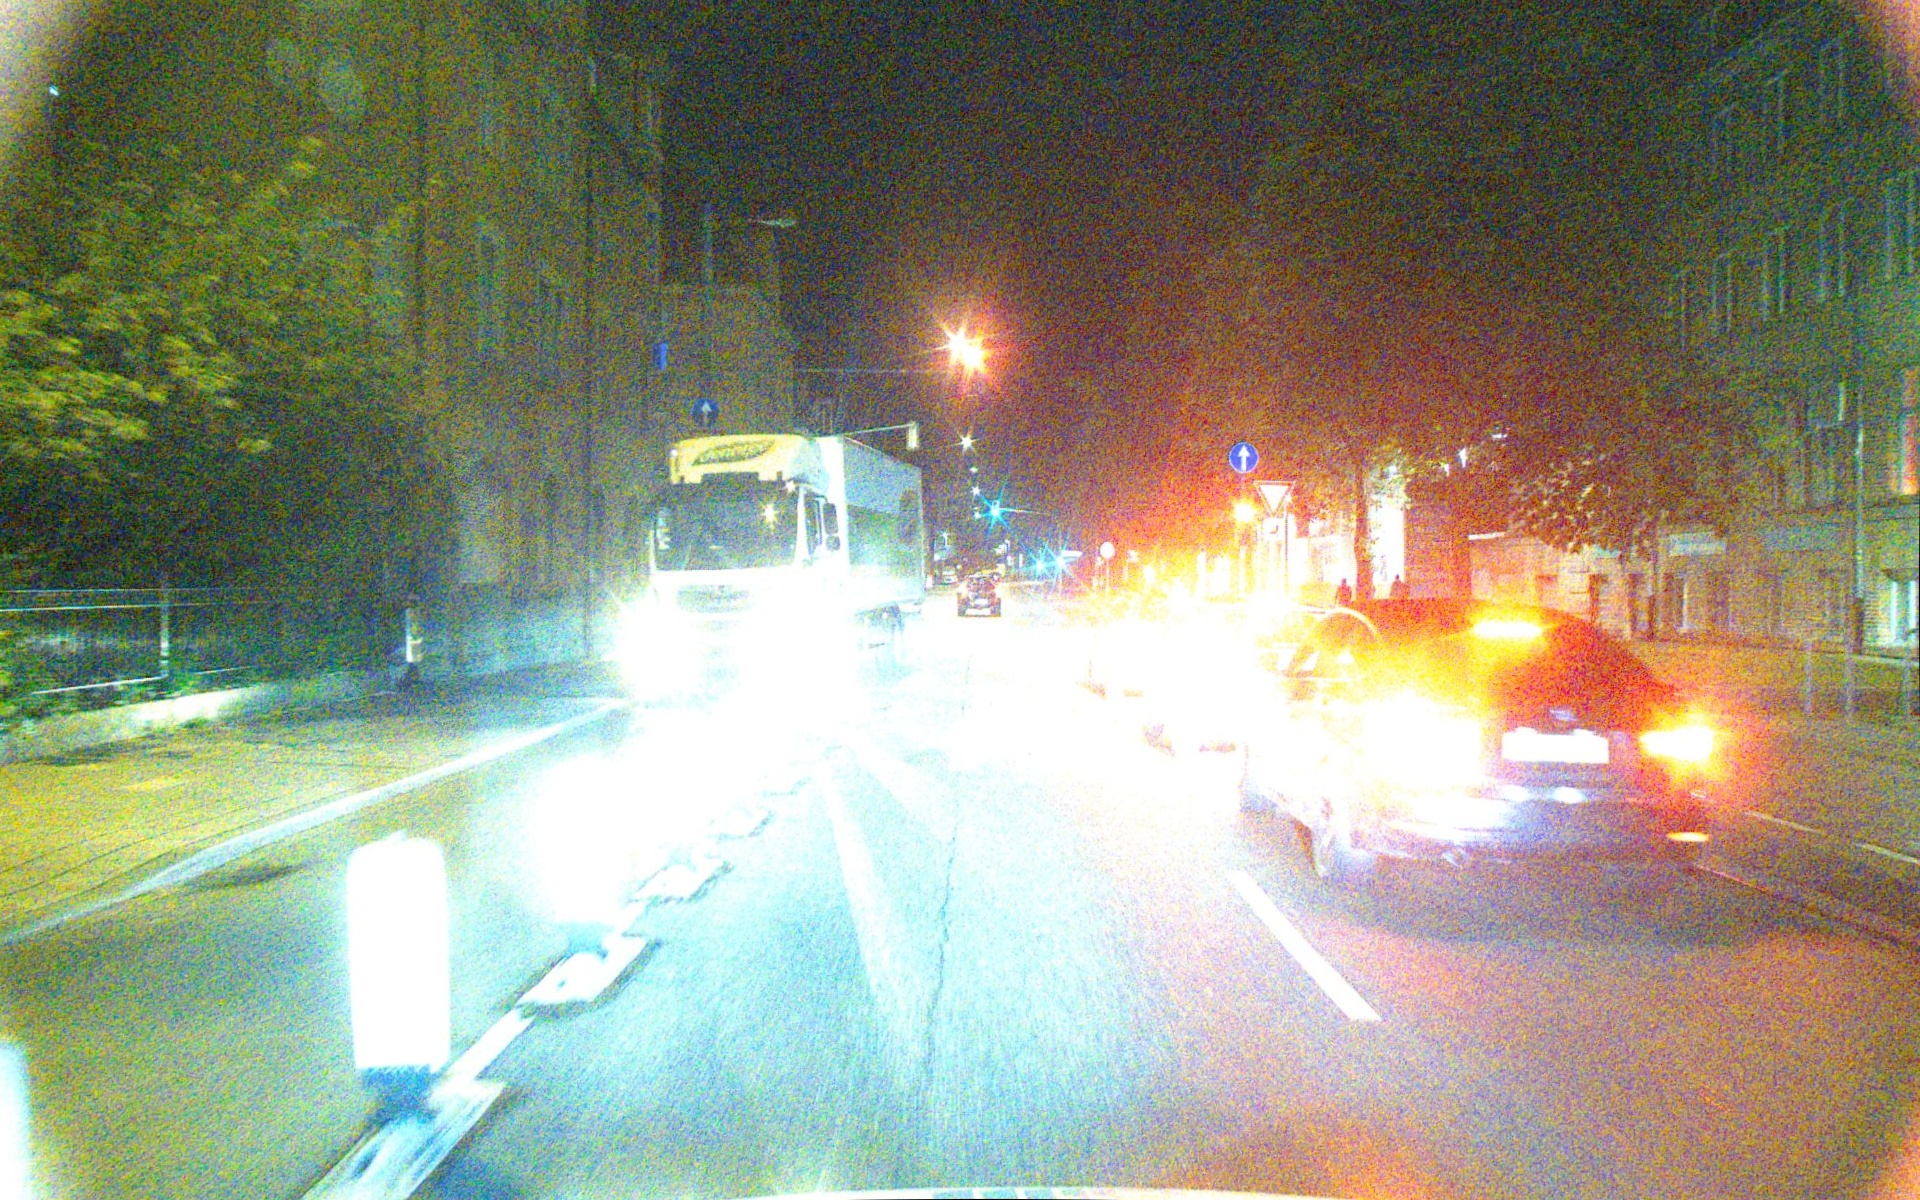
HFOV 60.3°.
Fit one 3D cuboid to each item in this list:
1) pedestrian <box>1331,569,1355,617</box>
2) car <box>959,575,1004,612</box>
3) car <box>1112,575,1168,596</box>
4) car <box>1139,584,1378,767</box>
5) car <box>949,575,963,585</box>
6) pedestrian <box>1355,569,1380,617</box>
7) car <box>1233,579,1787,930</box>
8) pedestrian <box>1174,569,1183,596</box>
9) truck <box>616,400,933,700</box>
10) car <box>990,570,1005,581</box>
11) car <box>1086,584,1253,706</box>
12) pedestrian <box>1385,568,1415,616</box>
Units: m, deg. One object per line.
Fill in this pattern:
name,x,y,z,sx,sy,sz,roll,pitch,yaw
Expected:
pedestrian,14.608,-0.267,63.111,0.699,1.800,0.907,-1,0,0
car,0.960,-0.310,76.411,1.953,1.668,3.999,0,1,-1
car,12.857,-1.050,118.430,3.903,1.410,1.772,-1,1,3
car,2.776,0.627,16.186,1.604,1.520,4.000,2,1,0
car,-0.567,-2.770,231.156,1.741,1.414,3.999,-1,1,-1
pedestrian,15.516,-0.286,62.996,0.723,1.800,0.907,-1,0,0
car,2.862,0.674,9.804,1.768,1.520,4.730,2,0,1
pedestrian,16.217,-1.305,122.746,0.520,2.049,0.670,0,0,0
truck,-2.479,-0.698,26.325,2.696,3.782,10.121,-1,1,7
car,5.564,-3.572,245.751,1.953,1.624,3.999,0,1,-2
car,2.777,0.543,22.788,1.694,1.460,4.210,2,1,-1
pedestrian,16.710,-0.298,62.890,0.882,1.800,0.907,-1,0,0
